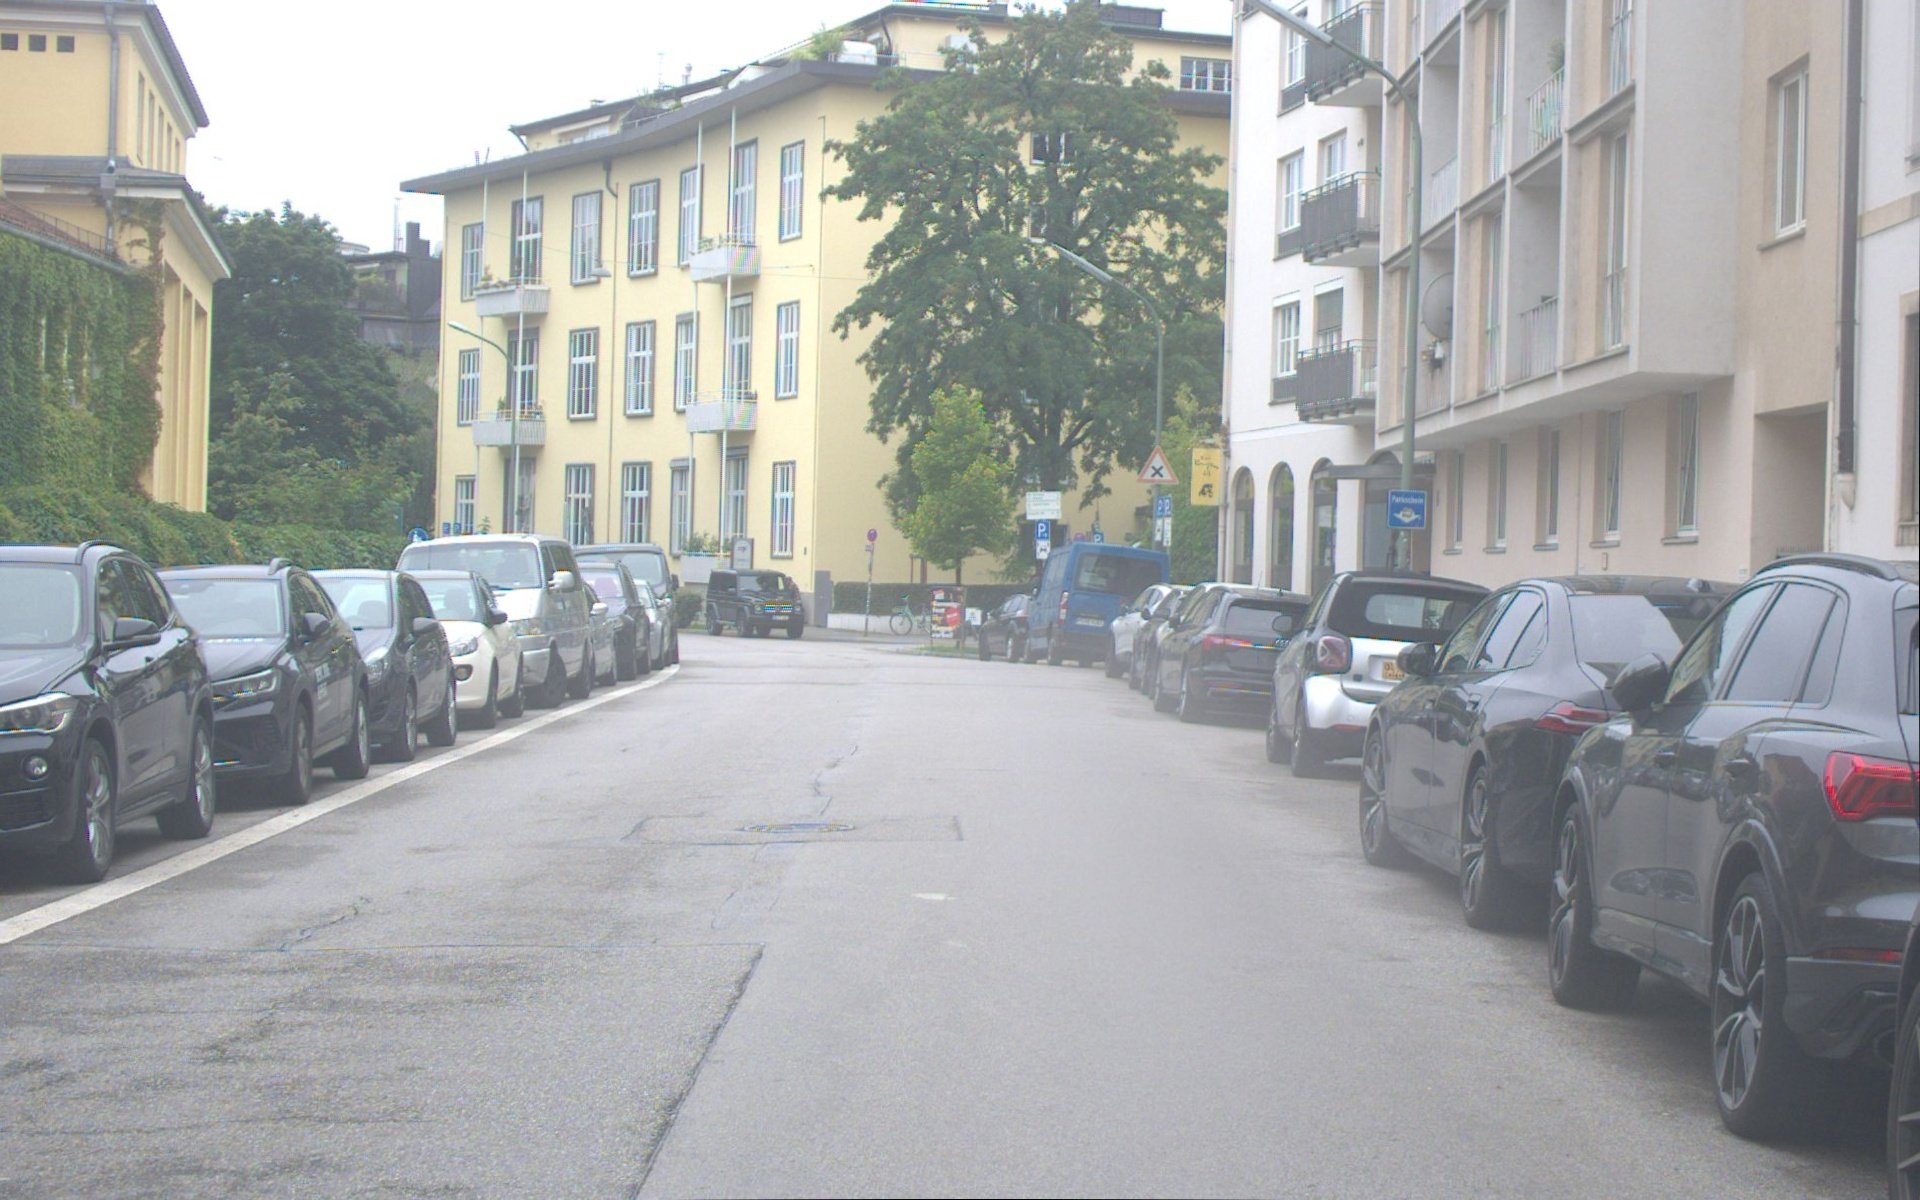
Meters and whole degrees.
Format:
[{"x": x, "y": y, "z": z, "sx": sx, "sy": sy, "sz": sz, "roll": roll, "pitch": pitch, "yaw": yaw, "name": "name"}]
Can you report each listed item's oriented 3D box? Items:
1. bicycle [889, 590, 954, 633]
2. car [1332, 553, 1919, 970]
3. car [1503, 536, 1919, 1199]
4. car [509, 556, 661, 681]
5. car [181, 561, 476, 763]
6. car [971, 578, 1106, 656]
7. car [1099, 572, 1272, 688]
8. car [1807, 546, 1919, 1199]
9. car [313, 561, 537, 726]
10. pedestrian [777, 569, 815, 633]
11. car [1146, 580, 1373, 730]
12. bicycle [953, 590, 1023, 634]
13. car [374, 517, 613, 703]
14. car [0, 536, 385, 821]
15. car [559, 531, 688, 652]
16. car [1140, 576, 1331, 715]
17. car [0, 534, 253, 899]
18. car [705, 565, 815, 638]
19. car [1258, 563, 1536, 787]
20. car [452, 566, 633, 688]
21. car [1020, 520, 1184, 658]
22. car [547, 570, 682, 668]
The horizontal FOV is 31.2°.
[{"x": -1.148, "y": 0.348, "z": 101.420, "sx": 1.926, "sy": 1.197, "sz": 0.594, "roll": 2, "pitch": 0, "yaw": 37, "name": "bicycle"}, {"x": 2.988, "y": 0.602, "z": 15.811, "sx": 1.802, "sy": 1.479, "sz": 5.320, "roll": 4, "pitch": 0, "yaw": -1, "name": "car"}, {"x": 2.903, "y": 0.679, "z": 10.556, "sx": 1.645, "sy": 1.584, "sz": 4.634, "roll": 4, "pitch": 0, "yaw": 0, "name": "car"}, {"x": -5.217, "y": 0.228, "z": 48.265, "sx": 1.697, "sy": 1.637, "sz": 4.490, "roll": -1, "pitch": 0, "yaw": -1, "name": "car"}, {"x": -4.912, "y": 0.440, "z": 27.250, "sx": 1.603, "sy": 1.425, "sz": 4.252, "roll": -2, "pitch": 0, "yaw": -1, "name": "car"}, {"x": 1.561, "y": 0.321, "z": 70.059, "sx": 1.676, "sy": 1.384, "sz": 4.307, "roll": 5, "pitch": -1, "yaw": -12, "name": "car"}, {"x": 3.369, "y": 0.420, "z": 52.219, "sx": 1.785, "sy": 1.528, "sz": 4.649, "roll": 5, "pitch": 0, "yaw": -6, "name": "car"}, {"x": 2.863, "y": 0.702, "z": 5.561, "sx": 1.840, "sy": 1.517, "sz": 4.709, "roll": 3, "pitch": 0, "yaw": 1, "name": "car"}, {"x": -4.990, "y": 0.373, "z": 32.504, "sx": 1.591, "sy": 1.436, "sz": 4.019, "roll": -1, "pitch": 0, "yaw": -2, "name": "car"}, {"x": -4.803, "y": 0.025, "z": 100.683, "sx": 0.874, "sy": 1.817, "sz": 0.798, "roll": 2, "pitch": 0, "yaw": -21, "name": "pedestrian"}, {"x": 3.137, "y": 0.540, "z": 36.912, "sx": 1.745, "sy": 1.383, "sz": 4.954, "roll": 3, "pitch": 0, "yaw": -2, "name": "car"}, {"x": 0.824, "y": 0.353, "z": 100.213, "sx": 1.923, "sy": 1.197, "sz": 0.595, "roll": 2, "pitch": 0, "yaw": 14, "name": "bicycle"}, {"x": -5.068, "y": 0.092, "z": 37.959, "sx": 1.887, "sy": 1.883, "sz": 4.774, "roll": -1, "pitch": 0, "yaw": 1, "name": "car"}, {"x": -4.892, "y": 0.439, "z": 22.175, "sx": 1.724, "sy": 1.624, "sz": 4.466, "roll": -1, "pitch": 0, "yaw": -2, "name": "car"}, {"x": -5.763, "y": -0.141, "z": 58.820, "sx": 2.072, "sy": 1.957, "sz": 5.350, "roll": -1, "pitch": 0, "yaw": -6, "name": "car"}, {"x": 3.295, "y": 0.509, "z": 41.855, "sx": 1.694, "sy": 1.484, "sz": 4.580, "roll": 4, "pitch": 0, "yaw": -2, "name": "car"}, {"x": -4.888, "y": 0.503, "z": 17.318, "sx": 1.789, "sy": 1.581, "sz": 4.819, "roll": -1, "pitch": 1, "yaw": -2, "name": "car"}, {"x": -5.874, "y": 0.021, "z": 100.476, "sx": 1.762, "sy": 1.868, "sz": 4.380, "roll": 6, "pitch": -1, "yaw": -22, "name": "car"}, {"x": 3.259, "y": 0.525, "z": 26.115, "sx": 1.650, "sy": 1.490, "sz": 2.881, "roll": 4, "pitch": 0, "yaw": 0, "name": "car"}, {"x": -5.217, "y": 0.309, "z": 43.505, "sx": 1.653, "sy": 1.409, "sz": 4.771, "roll": -2, "pitch": 0, "yaw": 0, "name": "car"}, {"x": 2.579, "y": -0.152, "z": 63.909, "sx": 2.078, "sy": 2.226, "sz": 5.245, "roll": 6, "pitch": -2, "yaw": -6, "name": "car"}, {"x": -5.339, "y": 0.263, "z": 53.572, "sx": 1.694, "sy": 1.388, "sz": 4.501, "roll": -3, "pitch": 1, "yaw": -1, "name": "car"}]
